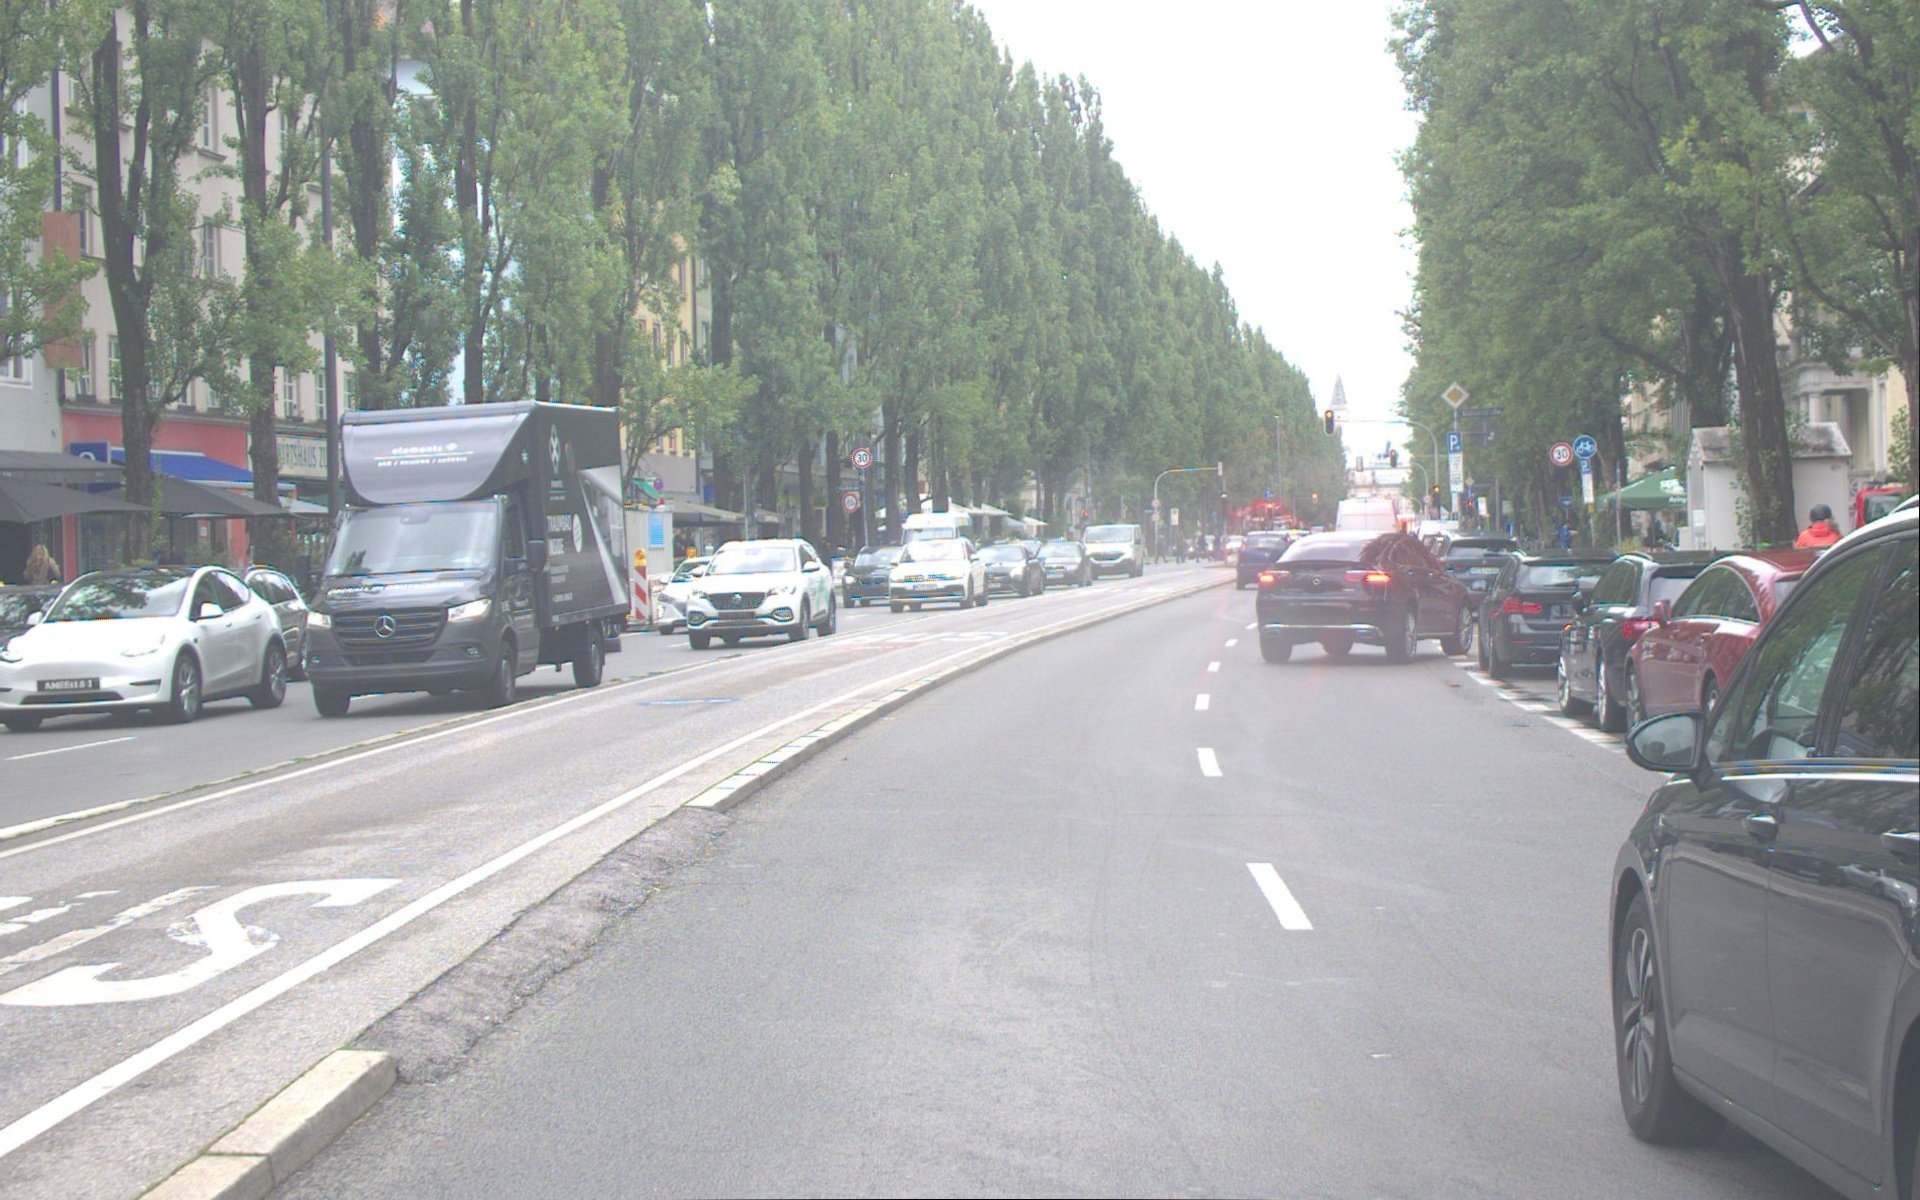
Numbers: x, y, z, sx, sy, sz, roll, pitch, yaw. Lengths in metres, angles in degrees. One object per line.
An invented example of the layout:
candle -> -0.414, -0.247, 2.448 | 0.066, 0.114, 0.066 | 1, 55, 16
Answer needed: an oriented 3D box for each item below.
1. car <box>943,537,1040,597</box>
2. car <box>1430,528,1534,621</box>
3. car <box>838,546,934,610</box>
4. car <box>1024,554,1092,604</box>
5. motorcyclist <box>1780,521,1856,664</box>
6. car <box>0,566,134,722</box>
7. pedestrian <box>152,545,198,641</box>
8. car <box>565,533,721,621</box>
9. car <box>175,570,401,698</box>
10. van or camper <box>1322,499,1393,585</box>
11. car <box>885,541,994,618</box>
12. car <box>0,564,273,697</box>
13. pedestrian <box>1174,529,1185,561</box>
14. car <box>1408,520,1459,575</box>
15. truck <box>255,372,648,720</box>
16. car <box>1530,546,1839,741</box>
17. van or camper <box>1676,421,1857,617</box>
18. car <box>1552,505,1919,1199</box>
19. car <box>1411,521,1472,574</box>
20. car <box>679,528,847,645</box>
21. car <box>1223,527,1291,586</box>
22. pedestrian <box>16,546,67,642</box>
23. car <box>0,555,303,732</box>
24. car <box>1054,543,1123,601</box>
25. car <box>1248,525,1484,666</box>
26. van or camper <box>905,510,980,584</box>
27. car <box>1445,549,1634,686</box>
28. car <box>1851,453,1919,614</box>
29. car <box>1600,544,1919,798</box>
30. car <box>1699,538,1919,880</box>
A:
car -> 0.867, -0.888, 91.111 | 1.994, 1.427, 4.771 | -2, 1, 7
car -> 9.332, -0.488, 61.681 | 1.624, 1.560, 4.370 | -1, 1, 6
car -> -1.882, -0.569, 89.047 | 1.849, 1.559, 4.211 | -2, 0, 7
car -> 2.954, -0.647, 102.848 | 1.712, 1.409, 3.722 | -2, 1, 6
motorcyclist -> 8.602, -0.081, 34.484 | 0.564, 1.401, 0.766 | -2, 1, 3
car -> -10.972, 0.483, 38.682 | 1.863, 1.624, 4.167 | -2, 1, 7
pedestrian -> -15.420, -0.149, 67.513 | 0.638, 1.855, 0.648 | -2, 1, 7
car -> -5.770, -0.444, 63.075 | 1.940, 1.488, 4.456 | -2, 1, 6
car -> -9.397, 0.444, 48.405 | 1.863, 1.624, 4.167 | -2, 1, 7
van or camper -> 12.028, -1.719, 103.990 | 2.035, 2.467, 3.999 | -1, 0, 7
car -> -0.436, -0.490, 78.761 | 1.940, 1.636, 4.463 | -2, 1, 6
car -> -10.342, 0.352, 43.376 | 1.940, 1.488, 4.295 | -1, 1, 8
pedestrian -> 12.082, -3.035, 189.319 | 0.553, 1.710, 0.493 | -2, 1, 8
car -> 17.502, -1.917, 127.149 | 1.805, 1.985, 3.999 | 0, 0, 7
truck -> -5.306, -0.596, 37.199 | 2.291, 3.311, 7.156 | -2, 1, 7
car -> 5.847, 0.297, 28.235 | 1.847, 1.423, 4.425 | -1, 1, 4
van or camper -> 13.604, -1.367, 58.290 | 2.461, 3.101, 4.714 | -2, 1, 8
car -> 2.501, 0.616, 7.040 | 1.761, 1.608, 4.184 | -1, 1, -1
car -> 15.396, -1.692, 110.067 | 1.805, 1.590, 3.999 | -2, 1, 7
car -> -3.107, -0.258, 55.040 | 1.861, 1.705, 4.535 | -2, 1, 7
car -> 8.270, -1.195, 95.473 | 1.759, 1.614, 3.746 | 0, 0, 7
pedestrian -> -16.505, -0.118, 61.771 | 0.638, 1.694, 0.648 | -2, 1, 7
car -> -8.643, 0.408, 36.291 | 1.994, 1.645, 4.635 | -2, 1, 7
car -> 4.634, -1.012, 123.534 | 1.994, 1.927, 4.917 | -3, 0, 7
car -> 5.225, -0.091, 43.702 | 1.882, 1.636, 4.578 | -1, 1, 21
van or camper -> -0.580, -1.809, 116.857 | 1.994, 2.450, 4.250 | -1, 1, 7
car -> 6.538, 0.152, 39.148 | 1.733, 1.389, 4.432 | -2, 1, 5
car -> 14.755, -1.052, 52.300 | 1.903, 2.320, 4.820 | -2, 1, 19
car -> 5.634, 0.384, 22.825 | 1.930, 1.445, 4.804 | -2, 1, 1
car -> 5.176, 0.439, 17.881 | 1.810, 1.495, 4.805 | -2, 1, 3
